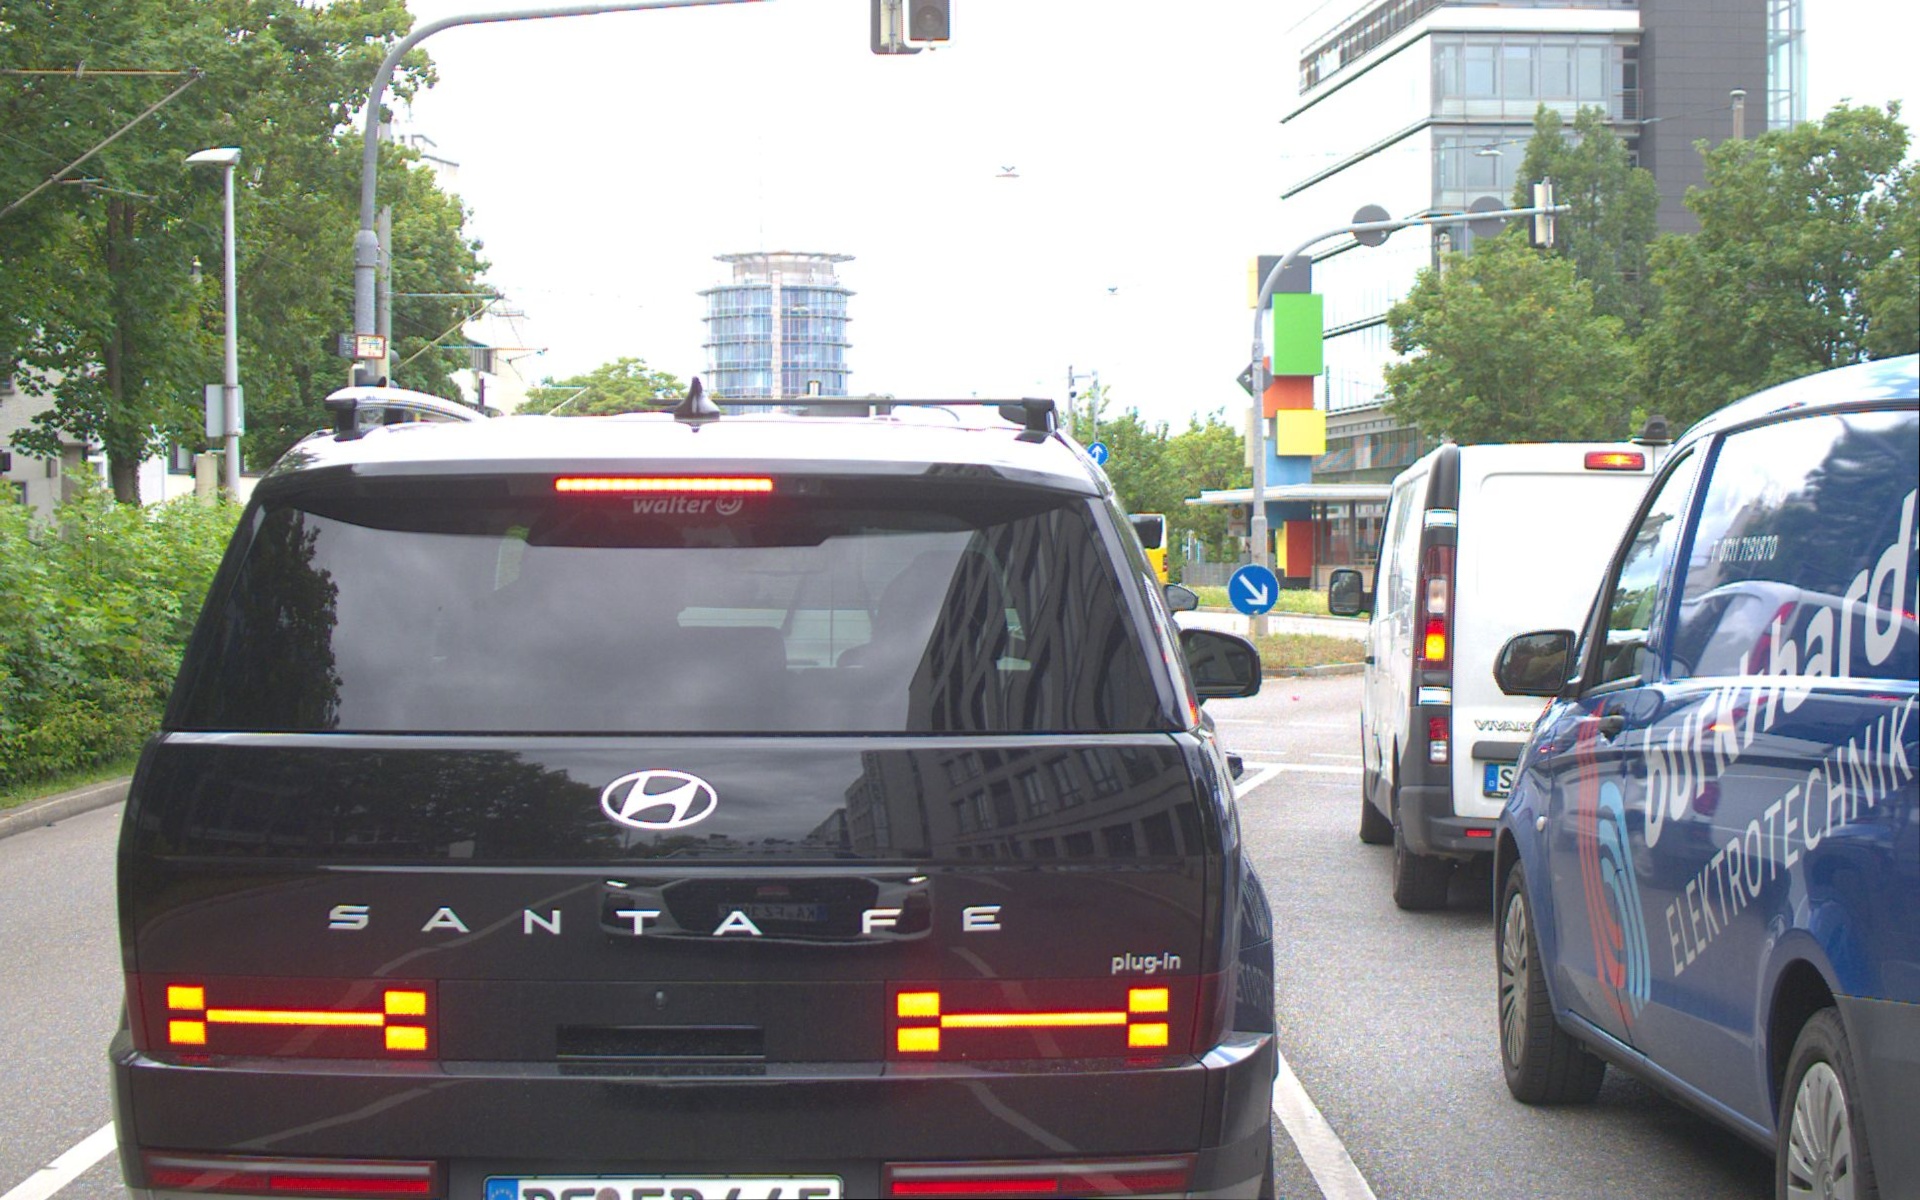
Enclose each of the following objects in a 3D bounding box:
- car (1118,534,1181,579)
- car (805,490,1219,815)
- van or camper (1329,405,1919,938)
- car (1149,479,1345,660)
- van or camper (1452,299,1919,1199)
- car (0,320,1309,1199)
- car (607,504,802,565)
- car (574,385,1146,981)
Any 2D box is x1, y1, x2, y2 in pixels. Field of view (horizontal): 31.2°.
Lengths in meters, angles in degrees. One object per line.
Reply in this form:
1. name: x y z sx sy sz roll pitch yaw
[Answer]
1. car: 7.252 -1.670 131.810 1.993 1.678 4.000 0 0 -3
2. car: 0.428 0.259 20.433 1.776 1.711 4.336 1 0 10
3. van or camper: 2.785 0.229 15.408 1.994 2.007 4.652 1 1 3
4. car: 3.316 -0.360 40.417 1.993 2.007 4.000 0 0 1
5. van or camper: 2.389 0.446 7.510 1.859 1.904 5.032 0 1 -1
6. car: -0.479 0.464 6.621 1.869 1.754 3.880 0 1 -1
7. car: -7.058 -1.791 94.690 5.281 1.590 2.000 0 0 -6
8. car: -0.359 0.246 13.492 1.915 1.996 3.880 0 1 -1
